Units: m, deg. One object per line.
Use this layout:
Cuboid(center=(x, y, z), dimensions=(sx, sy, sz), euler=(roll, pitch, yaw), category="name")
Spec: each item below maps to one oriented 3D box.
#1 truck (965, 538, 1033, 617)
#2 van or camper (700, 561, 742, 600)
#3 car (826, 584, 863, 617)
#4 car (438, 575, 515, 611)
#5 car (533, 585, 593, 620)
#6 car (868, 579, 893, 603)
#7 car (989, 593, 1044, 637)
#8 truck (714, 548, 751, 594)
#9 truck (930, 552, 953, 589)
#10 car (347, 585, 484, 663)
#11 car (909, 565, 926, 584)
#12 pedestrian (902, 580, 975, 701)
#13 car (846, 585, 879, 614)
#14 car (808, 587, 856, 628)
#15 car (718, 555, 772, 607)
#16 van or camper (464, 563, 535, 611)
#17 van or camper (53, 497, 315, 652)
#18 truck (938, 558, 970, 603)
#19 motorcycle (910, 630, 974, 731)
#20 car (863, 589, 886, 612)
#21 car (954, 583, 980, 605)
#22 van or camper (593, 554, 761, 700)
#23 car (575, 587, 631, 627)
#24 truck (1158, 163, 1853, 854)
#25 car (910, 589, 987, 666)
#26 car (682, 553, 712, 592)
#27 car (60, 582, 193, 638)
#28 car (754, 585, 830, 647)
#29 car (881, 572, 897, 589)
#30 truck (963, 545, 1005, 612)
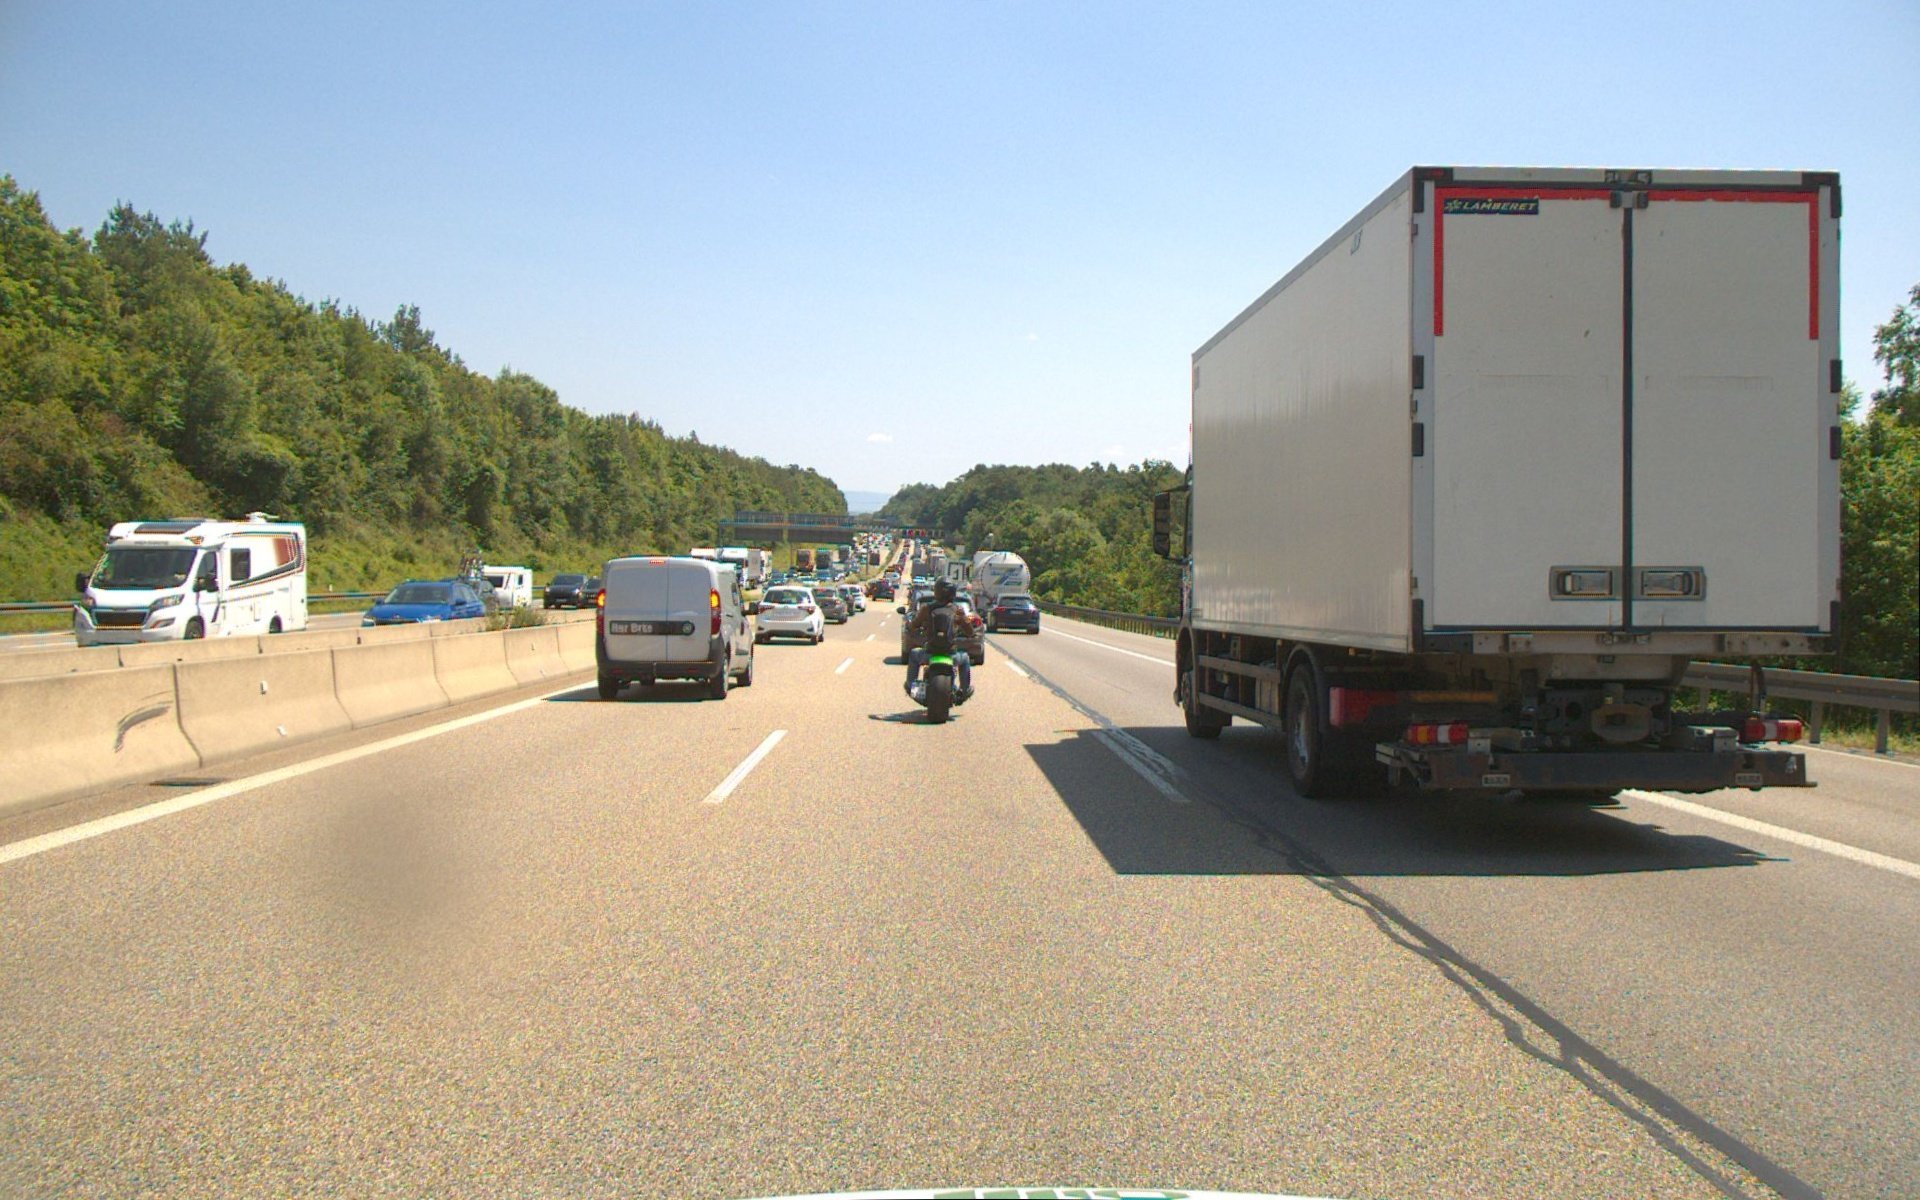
Cuboid(center=(1.851, -1.055, 82.836), dimensions=(2.927, 3.735, 9.284), euler=(0, 0, -1), category="truck")
Cuboid(center=(-17.488, -1.415, 121.487), dimensions=(2.185, 2.809, 6.835), euler=(1, 0, -1), category="van or camper")
Cuboid(center=(-5.771, -0.003, 82.999), dimensions=(1.665, 1.504, 3.999), euler=(2, 1, -2), category="car")
Cuboid(center=(-19.198, -0.288, 65.868), dimensions=(1.764, 1.370, 4.722), euler=(1, 0, -1), category="car")
Cuboid(center=(-19.699, 0.087, 82.252), dimensions=(1.886, 1.668, 4.926), euler=(1, 0, -1), category="car")
Cuboid(center=(-6.446, -0.756, 134.704), dimensions=(1.842, 1.892, 3.999), euler=(2, 1, -1), category="car")
Cuboid(center=(2.105, 0.553, 62.658), dimensions=(1.792, 1.496, 3.999), euler=(3, 1, -2), category="car")
Cuboid(center=(-22.014, -2.801, 160.295), dimensions=(2.783, 4.287, 5.658), euler=(1, 0, -2), category="truck")
Cuboid(center=(-2.674, -4.330, 242.508), dimensions=(2.972, 5.228, 9.980), euler=(3, 1, -2), category="truck")
Cuboid(center=(-11.601, 0.471, 35.499), dimensions=(1.676, 1.564, 4.127), euler=(0, 0, -2), category="car")
Cuboid(center=(-6.294, -3.798, 244.308), dimensions=(2.454, 2.632, 5.015), euler=(2, 1, -2), category="car")
Cuboid(center=(-0.250, 0.460, 19.421), dimensions=(0.832, 1.385, 0.961), euler=(0, 0, -1), category="pedestrian")
Cuboid(center=(-5.579, -0.039, 95.065), dimensions=(1.665, 1.504, 3.999), euler=(2, 1, -2), category="car")
Cuboid(center=(-5.126, 0.288, 66.470), dimensions=(1.665, 1.504, 3.999), euler=(2, 1, -2), category="car")
Cuboid(center=(-8.551, -0.737, 66.049), dimensions=(1.854, 1.982, 3.997), euler=(0, 0, -3), category="car")
Cuboid(center=(-19.607, -0.554, 70.589), dimensions=(2.034, 2.011, 3.704), euler=(0, 0, -1), category="van or camper")
Cuboid(center=(-15.322, -0.454, 33.243), dimensions=(2.224, 2.783, 6.803), euler=(0, 0, -2), category="van or camper")
Cuboid(center=(-0.711, -2.156, 180.035), dimensions=(2.972, 4.621, 9.980), euler=(3, 1, -2), category="truck")
Cuboid(center=(-0.205, 0.908, 19.418), dimensions=(0.677, 1.033, 2.121), euler=(2, 0, 0), category="motorcycle")
Cuboid(center=(-7.727, 0.065, 149.338), dimensions=(1.953, 2.049, 3.999), euler=(0, 0, -1), category="car")
Cuboid(center=(0.501, -0.459, 123.339), dimensions=(1.751, 1.582, 3.802), euler=(2, 1, -2), category="car")
Cuboid(center=(-3.977, 0.357, 23.860), dimensions=(1.759, 1.925, 4.159), euler=(0, 0, -1), category="van or camper")
Cuboid(center=(-16.023, 0.290, 74.421), dimensions=(1.658, 1.712, 4.195), euler=(1, 0, -1), category="car")
Cuboid(center=(3.736, -0.568, 14.408), dimensions=(2.633, 3.944, 9.778), euler=(-1, 0, -1), category="truck")
Cuboid(center=(-0.203, 0.536, 35.282), dimensions=(1.501, 1.536, 4.001), euler=(0, 0, 2), category="car")
Cuboid(center=(-26.749, -2.779, 168.338), dimensions=(2.399, 3.941, 4.564), euler=(0, 0, -2), category="car")
Cuboid(center=(-23.091, 0.243, 46.009), dimensions=(1.545, 1.487, 4.388), euler=(0, 1, -1), category="car")
Cuboid(center=(-4.458, 0.385, 44.371), dimensions=(1.665, 1.504, 3.999), euler=(2, 1, -2), category="car")
Cuboid(center=(-8.925, -2.436, 207.608), dimensions=(1.890, 2.049, 3.999), euler=(0, 0, -1), category="car")
Cuboid(center=(1.324, -1.155, 91.868), dimensions=(1.954, 3.584, 4.747), euler=(0, 0, -4), category="truck")
